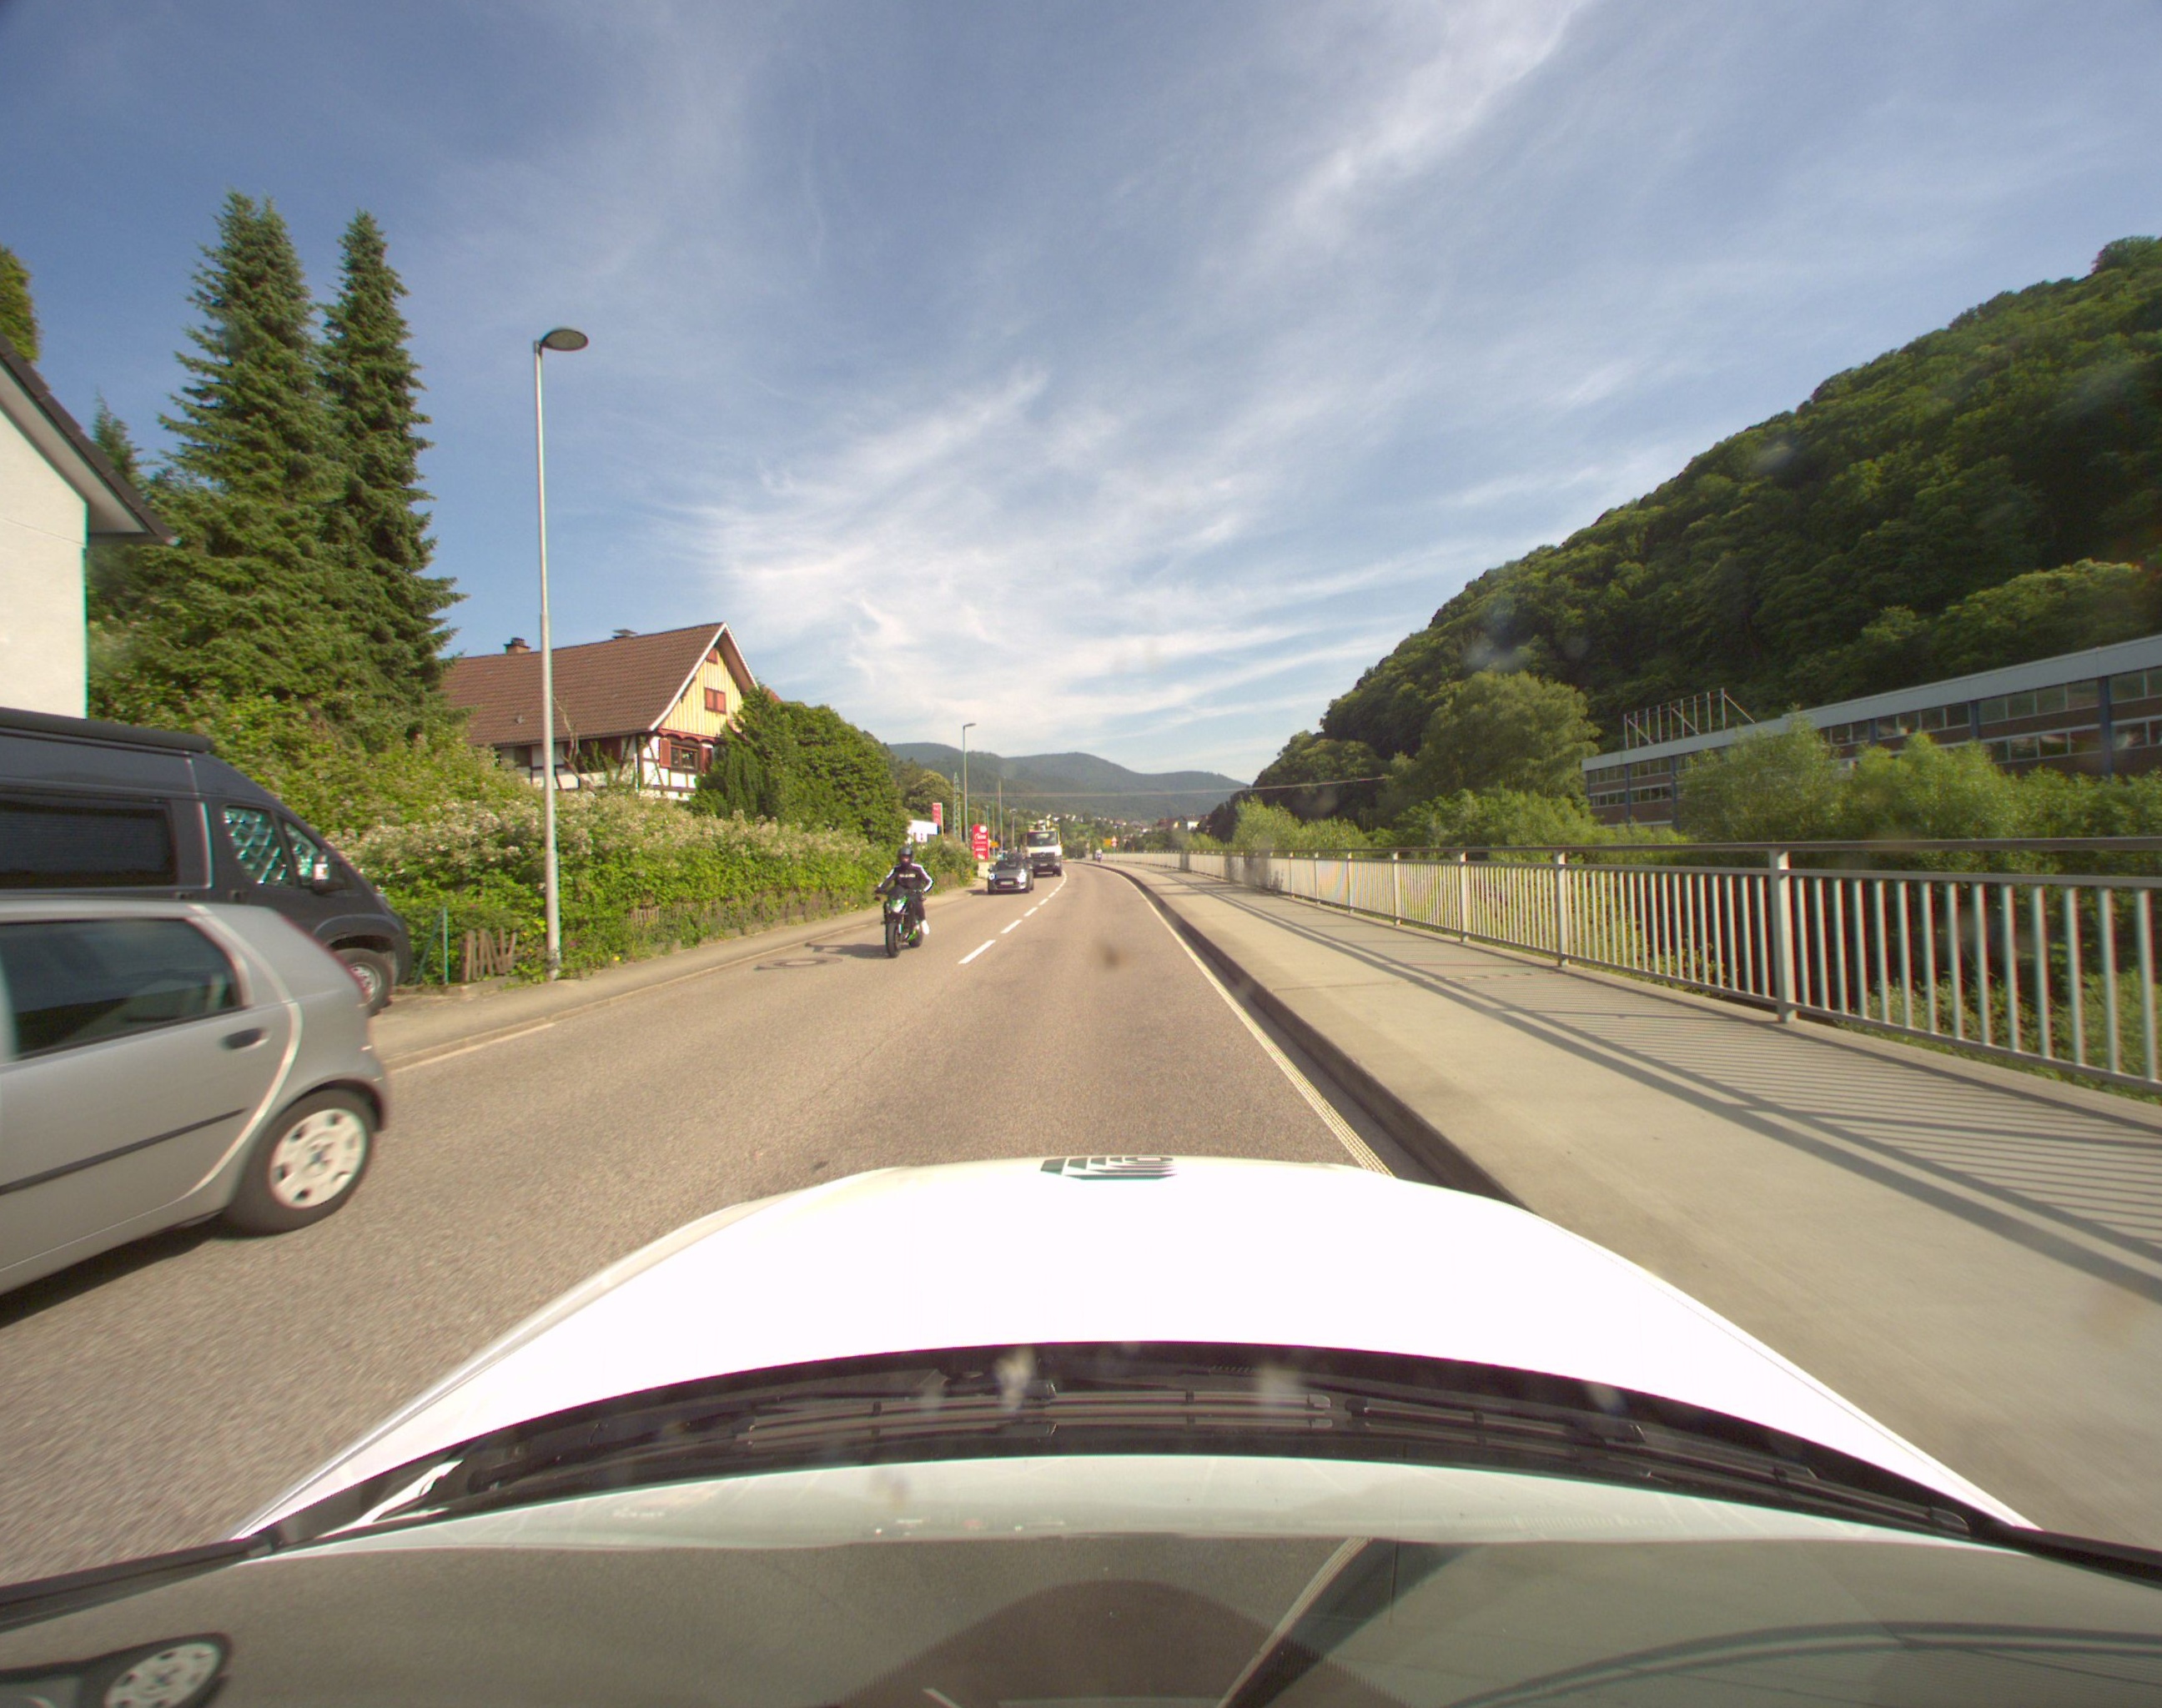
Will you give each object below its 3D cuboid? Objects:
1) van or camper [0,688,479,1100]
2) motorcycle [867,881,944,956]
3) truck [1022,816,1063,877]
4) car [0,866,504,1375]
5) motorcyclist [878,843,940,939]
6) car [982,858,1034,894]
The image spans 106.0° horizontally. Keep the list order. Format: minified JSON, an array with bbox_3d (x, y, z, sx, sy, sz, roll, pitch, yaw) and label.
[{"bbox_3d":[-7.742,0.275,5.907,2.140,2.555,5.904,-2,0,2],"label":"van or camper"},{"bbox_3d":[-2.861,1.022,13.511,0.651,1.068,2.184,-2,0,4],"label":"motorcycle"},{"bbox_3d":[-2.778,-0.484,59.114,2.572,3.931,11.294,-2,0,-3],"label":"truck"},{"bbox_3d":[-4.037,0.828,2.478,1.624,1.485,4.000,-2,0,1],"label":"car"},{"bbox_3d":[-2.884,0.610,13.675,0.822,1.558,0.629,-2,-1,4],"label":"motorcyclist"},{"bbox_3d":[-3.023,0.898,34.346,1.707,1.403,4.001,-2,-1,1],"label":"car"}]
